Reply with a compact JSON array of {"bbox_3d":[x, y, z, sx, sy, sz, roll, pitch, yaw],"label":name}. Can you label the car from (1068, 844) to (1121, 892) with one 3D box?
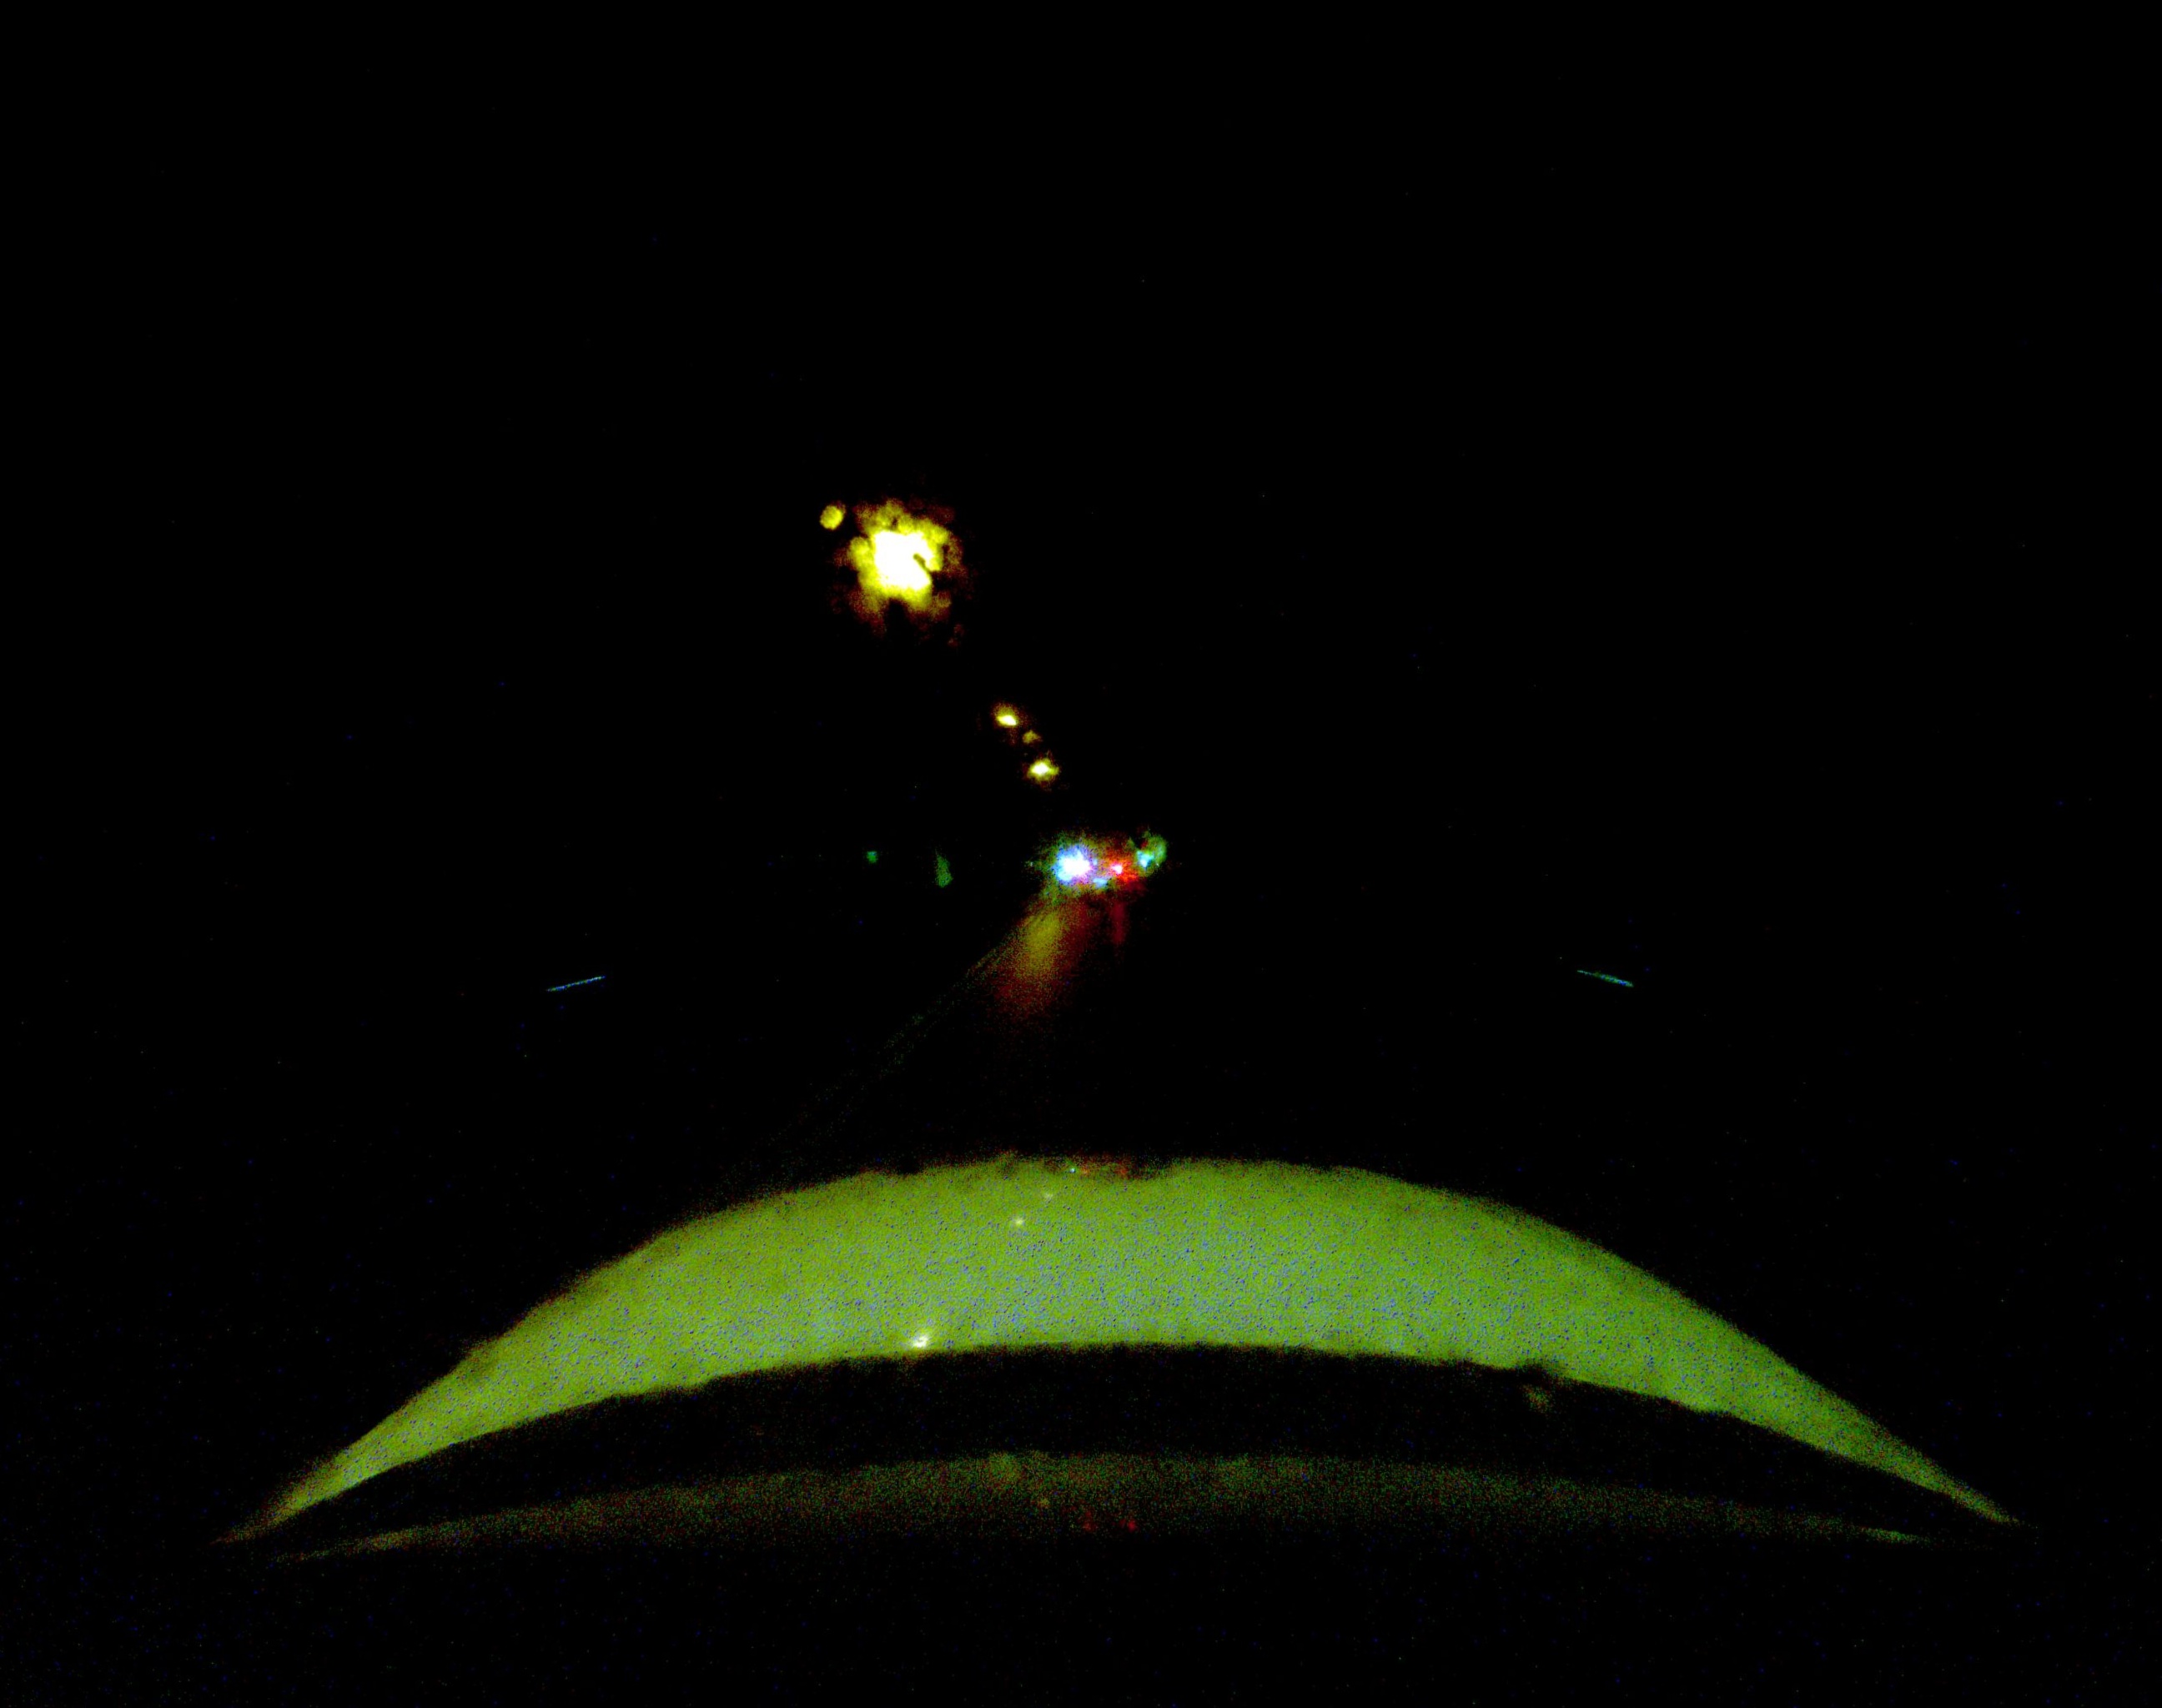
[{"bbox_3d":[0.461,0.512,30.477,1.803,1.622,3.999,-2,-1,0],"label":"car"}]
